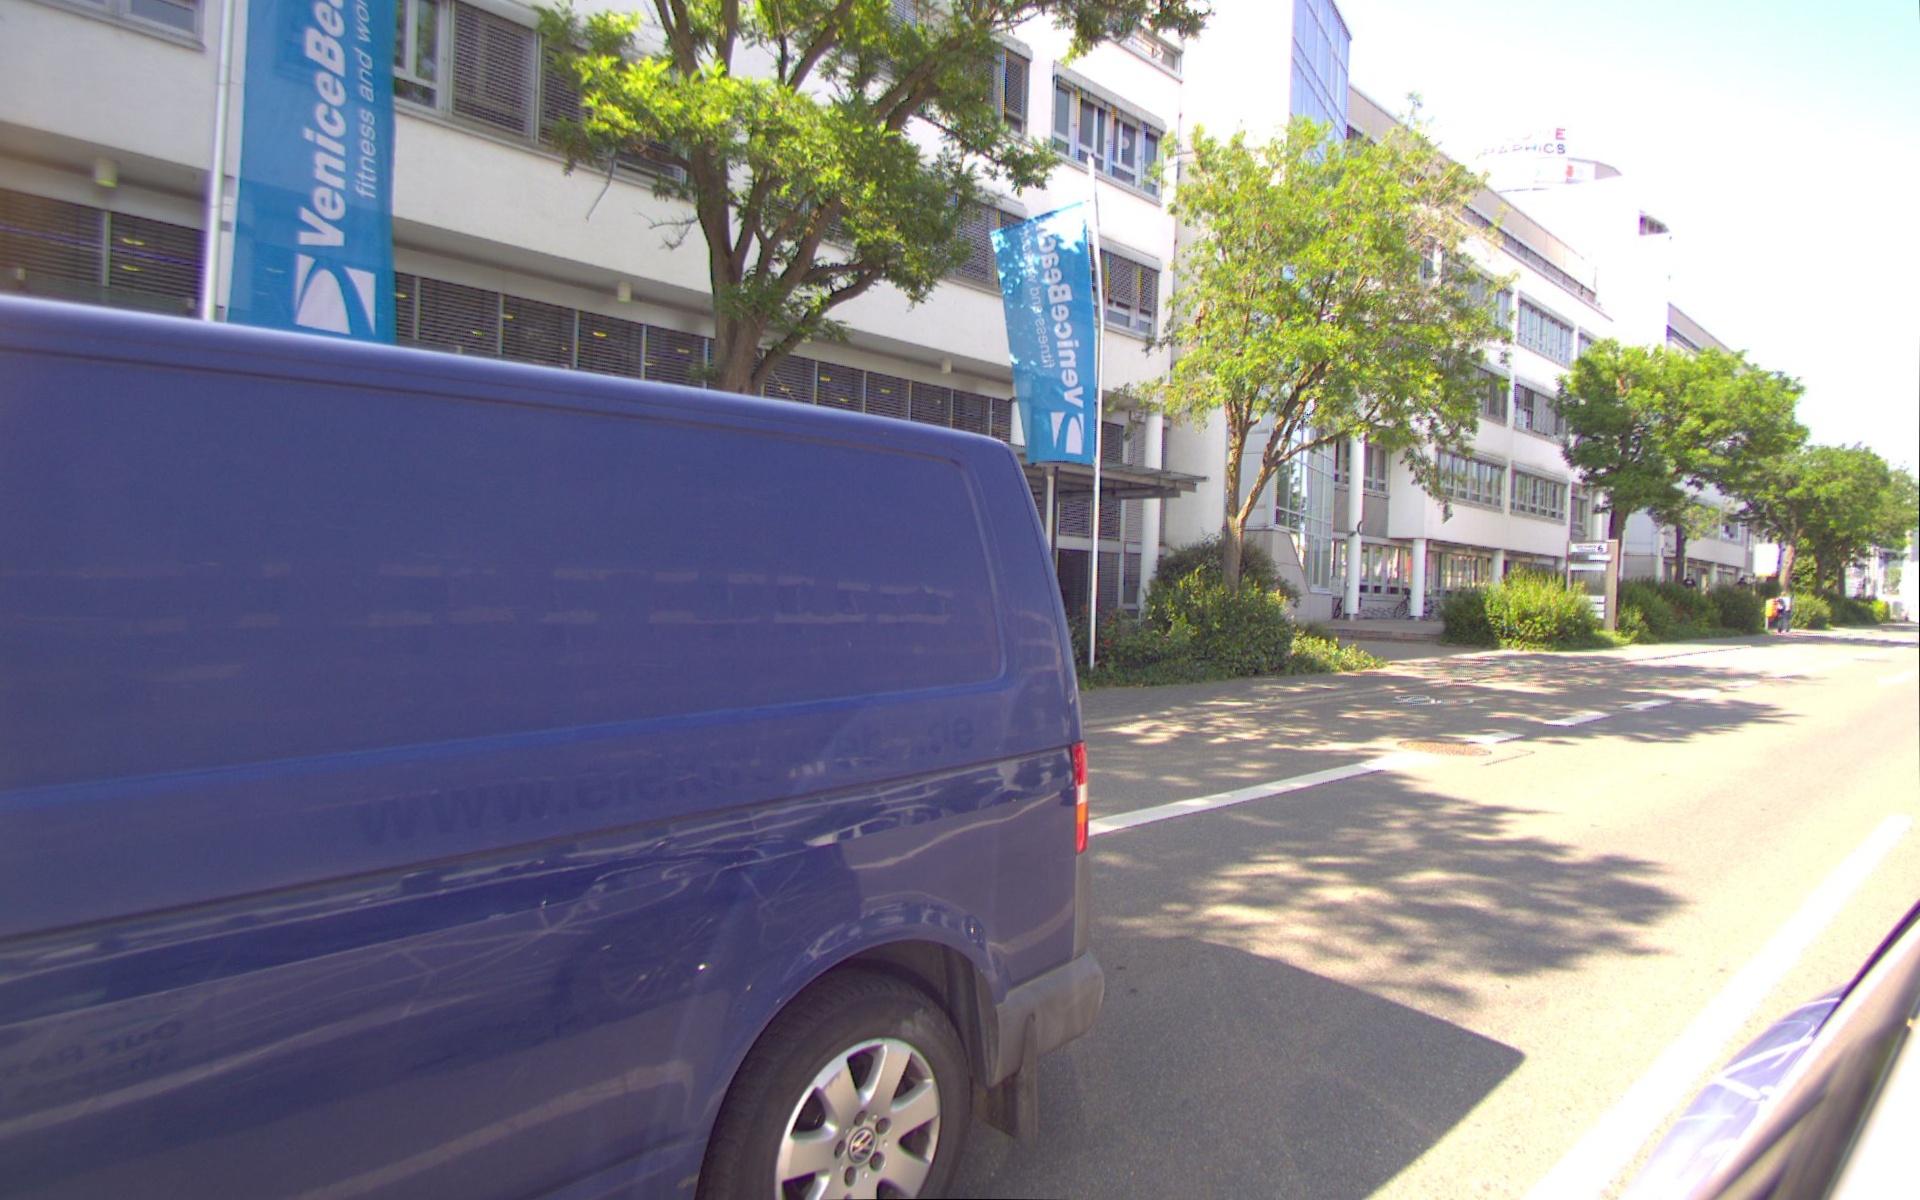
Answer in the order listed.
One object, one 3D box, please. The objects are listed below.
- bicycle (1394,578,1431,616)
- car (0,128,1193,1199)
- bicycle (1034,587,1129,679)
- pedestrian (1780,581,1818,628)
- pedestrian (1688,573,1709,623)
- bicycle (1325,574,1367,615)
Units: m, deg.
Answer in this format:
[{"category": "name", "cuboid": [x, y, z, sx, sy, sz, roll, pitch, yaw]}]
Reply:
[{"category": "bicycle", "cuboid": [16.858, -0.113, 37.714, 1.851, 1.371, 0.506, 0, 1, -41]}, {"category": "car", "cuboid": [-1.854, 0.411, 1.874, 4.805, 1.972, 1.997, -1, 2, -41]}, {"category": "bicycle", "cuboid": [1.942, 0.492, 15.925, 0.504, 1.346, 1.856, 2, 1, 41]}, {"category": "pedestrian", "cuboid": [35.721, 0.195, 43.069, 1.266, 1.909, 0.942, 0, 4, -41]}, {"category": "pedestrian", "cuboid": [38.797, -0.103, 53.160, 0.704, 2.581, 0.716, 0, 1, -42]}, {"category": "bicycle", "cuboid": [13.404, -0.184, 35.108, 1.851, 1.371, 0.506, 0, 1, -41]}]
